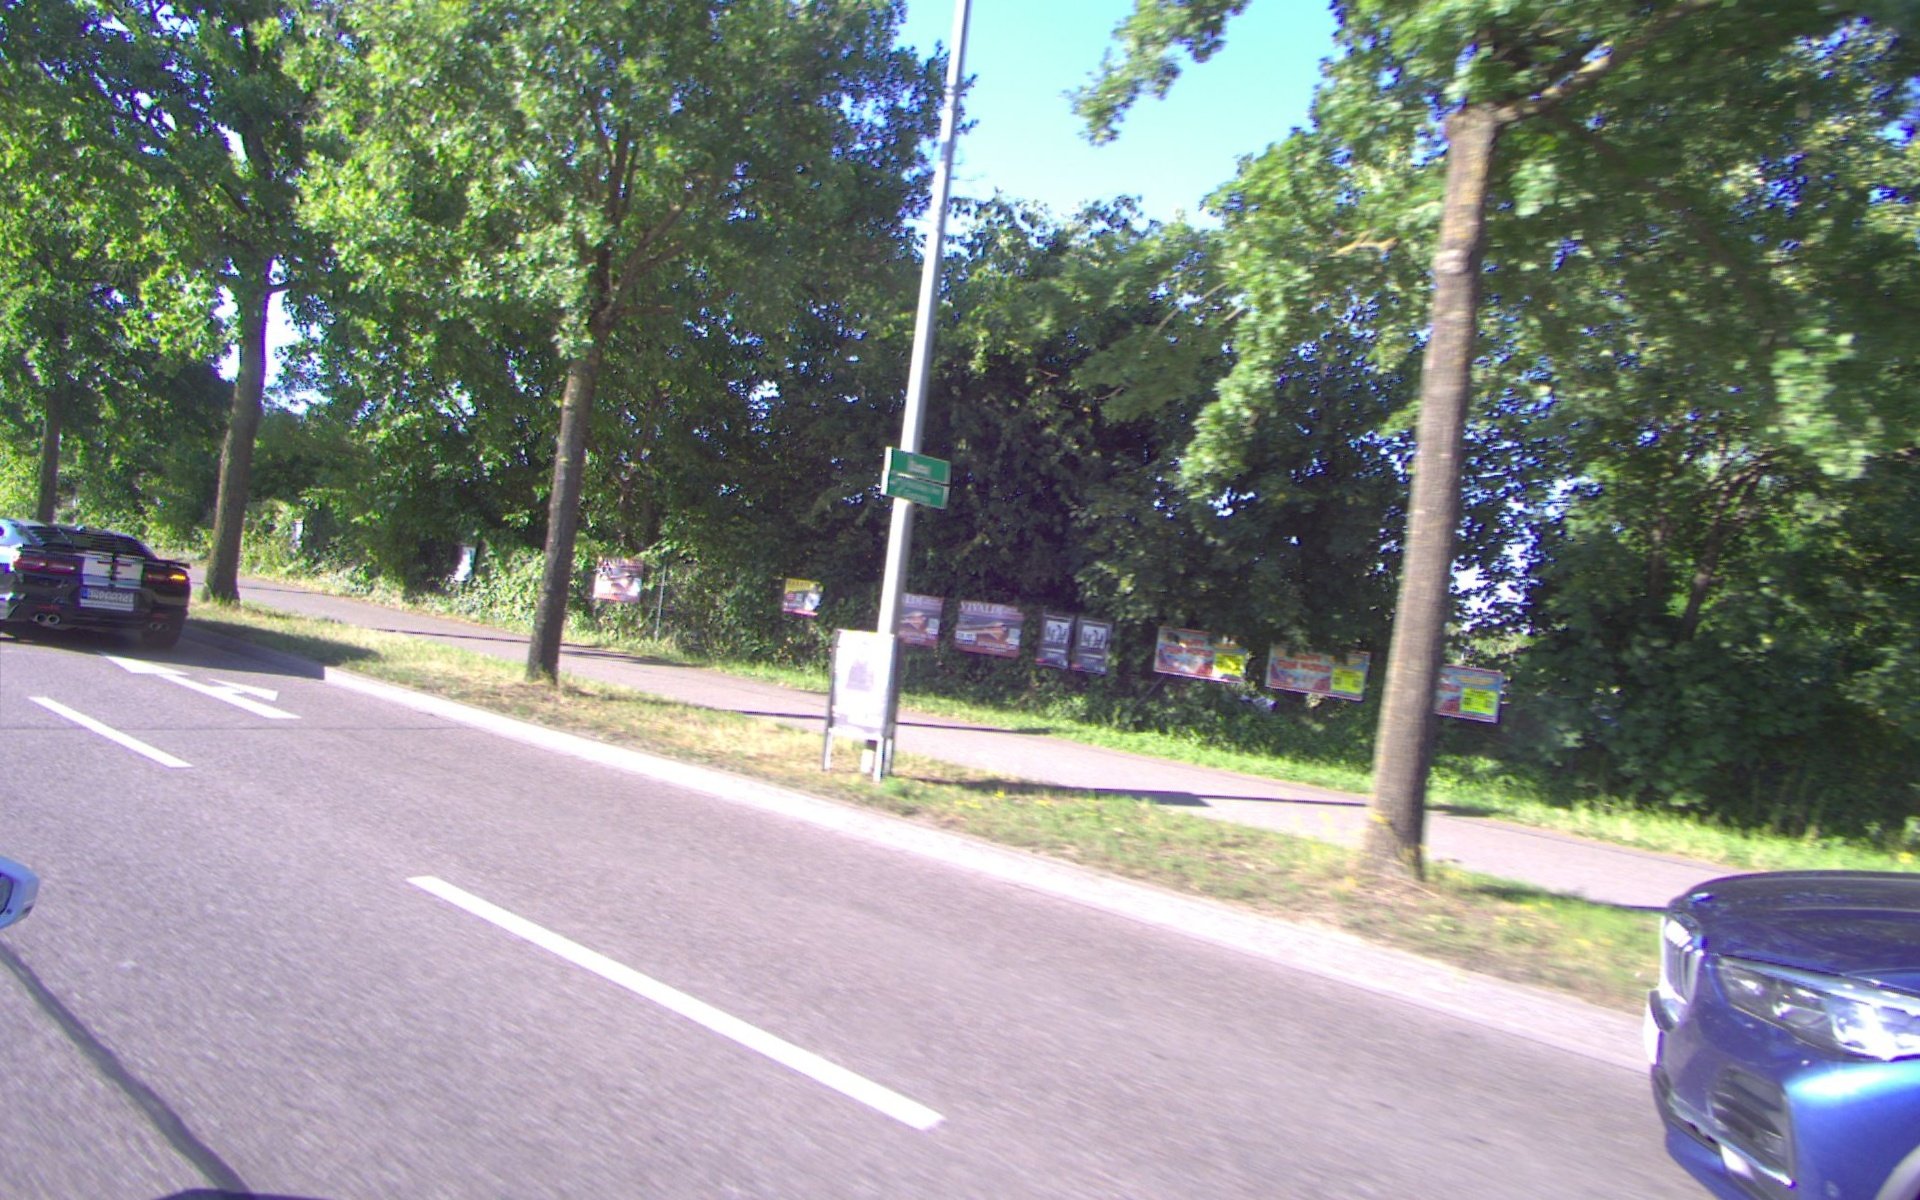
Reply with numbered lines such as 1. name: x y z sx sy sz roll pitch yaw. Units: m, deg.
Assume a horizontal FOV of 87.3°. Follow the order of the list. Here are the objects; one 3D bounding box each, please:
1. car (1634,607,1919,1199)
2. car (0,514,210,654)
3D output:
1. car: 4.212 1.200 1.956 4.624 1.747 1.957 7 -1 34
2. car: -11.212 -0.291 12.343 4.554 1.354 1.855 5 -2 36
